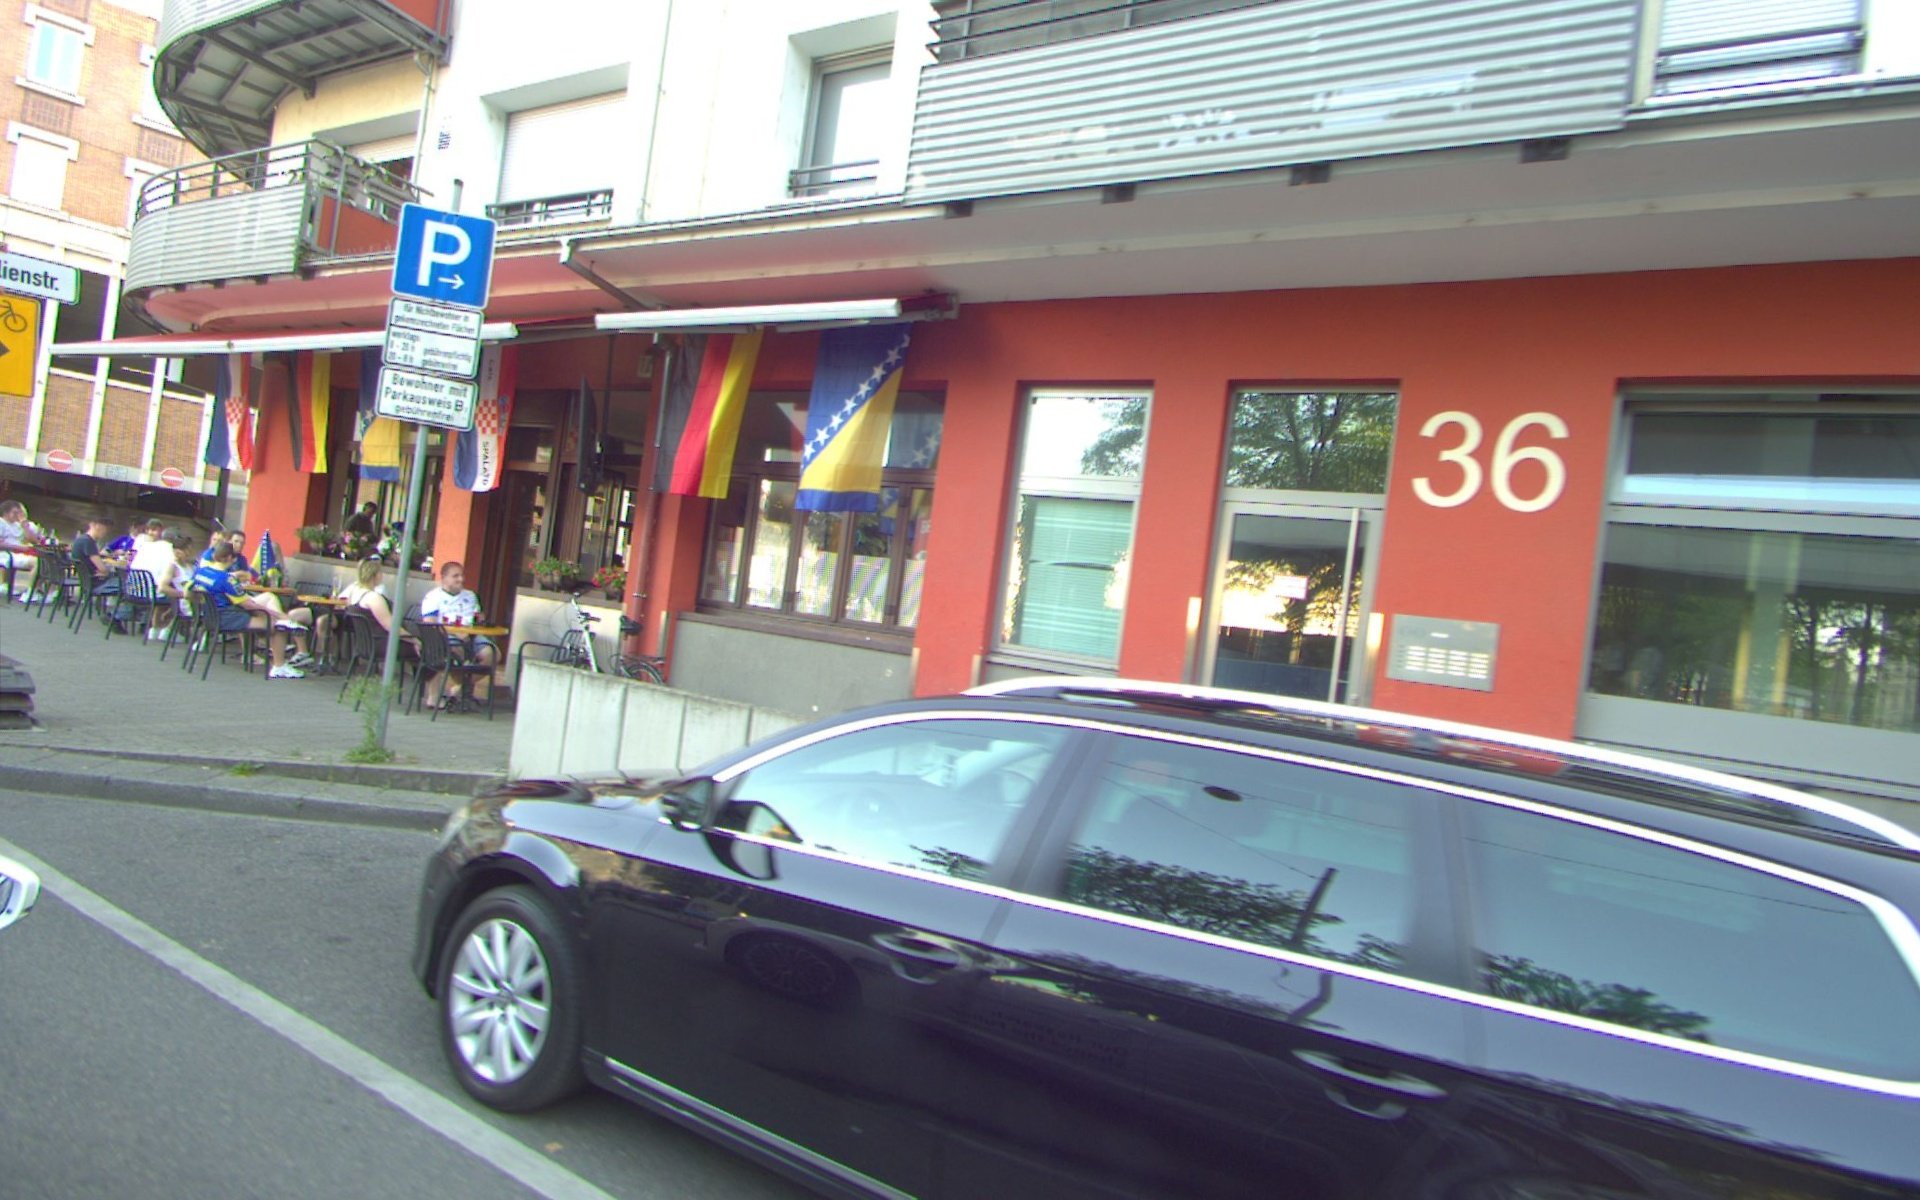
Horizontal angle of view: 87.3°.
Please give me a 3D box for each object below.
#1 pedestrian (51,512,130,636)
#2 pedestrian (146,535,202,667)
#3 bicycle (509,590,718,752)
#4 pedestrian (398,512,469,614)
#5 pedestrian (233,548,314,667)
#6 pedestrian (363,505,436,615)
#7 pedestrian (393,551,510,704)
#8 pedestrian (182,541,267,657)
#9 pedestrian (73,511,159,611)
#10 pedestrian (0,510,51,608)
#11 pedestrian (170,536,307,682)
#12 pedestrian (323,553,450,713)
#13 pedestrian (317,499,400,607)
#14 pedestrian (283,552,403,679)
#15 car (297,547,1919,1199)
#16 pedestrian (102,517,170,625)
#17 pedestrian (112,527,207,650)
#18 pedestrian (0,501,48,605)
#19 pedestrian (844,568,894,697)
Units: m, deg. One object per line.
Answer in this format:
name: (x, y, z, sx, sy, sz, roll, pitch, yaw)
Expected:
pedestrian: (-9.738, -0.281, 11.270, 0.411, 1.320, 0.491, 7, 2, 30)
pedestrian: (-7.847, 0.010, 10.051, 0.341, 1.273, 0.356, 5, 3, -36)
bicycle: (-2.968, 0.575, 8.576, 1.712, 1.168, 0.536, 5, 0, 25)
pedestrian: (-9.018, -0.617, 17.255, 0.704, 1.625, 0.687, 8, -2, -12)
pedestrian: (-7.458, 0.079, 10.943, 0.529, 1.217, 0.417, 6, 2, -13)
pedestrian: (-8.877, -0.626, 15.942, 0.598, 1.625, 0.534, 8, -2, 9)
pedestrian: (-4.896, 0.268, 9.701, 0.684, 1.365, 0.607, 7, 1, 29)
pedestrian: (-8.149, -0.013, 11.163, 0.560, 1.217, 0.417, 6, 2, -12)
pedestrian: (-11.809, -0.541, 14.100, 0.611, 1.294, 0.697, 8, 0, -23)
pedestrian: (-12.171, -0.553, 12.662, 0.609, 1.163, 0.890, 7, 0, 37)
pedestrian: (-6.785, 0.095, 9.481, 0.483, 1.273, 0.859, 7, 2, 30)
pedestrian: (-5.018, 0.294, 8.807, 0.600, 1.302, 0.686, 7, 0, 39)
pedestrian: (-9.914, -0.757, 16.602, 0.675, 1.625, 0.716, 8, -2, 3)
pedestrian: (-6.580, 0.166, 10.748, 0.702, 1.239, 0.779, 7, 2, 30)
car: (0.399, 0.954, 2.873, 4.709, 1.518, 1.771, 7, -4, 30)
pedestrian: (-10.506, -0.364, 12.832, 0.514, 1.292, 0.489, 8, 0, 43)
pedestrian: (-8.926, -0.129, 11.231, 0.502, 1.293, 0.626, 6, 2, -7)
pedestrian: (-12.590, -0.639, 13.269, 0.649, 1.299, 0.617, 7, 0, 38)
pedestrian: (-1.241, 0.448, 13.755, 0.420, 1.680, 0.431, 8, -2, -1)
